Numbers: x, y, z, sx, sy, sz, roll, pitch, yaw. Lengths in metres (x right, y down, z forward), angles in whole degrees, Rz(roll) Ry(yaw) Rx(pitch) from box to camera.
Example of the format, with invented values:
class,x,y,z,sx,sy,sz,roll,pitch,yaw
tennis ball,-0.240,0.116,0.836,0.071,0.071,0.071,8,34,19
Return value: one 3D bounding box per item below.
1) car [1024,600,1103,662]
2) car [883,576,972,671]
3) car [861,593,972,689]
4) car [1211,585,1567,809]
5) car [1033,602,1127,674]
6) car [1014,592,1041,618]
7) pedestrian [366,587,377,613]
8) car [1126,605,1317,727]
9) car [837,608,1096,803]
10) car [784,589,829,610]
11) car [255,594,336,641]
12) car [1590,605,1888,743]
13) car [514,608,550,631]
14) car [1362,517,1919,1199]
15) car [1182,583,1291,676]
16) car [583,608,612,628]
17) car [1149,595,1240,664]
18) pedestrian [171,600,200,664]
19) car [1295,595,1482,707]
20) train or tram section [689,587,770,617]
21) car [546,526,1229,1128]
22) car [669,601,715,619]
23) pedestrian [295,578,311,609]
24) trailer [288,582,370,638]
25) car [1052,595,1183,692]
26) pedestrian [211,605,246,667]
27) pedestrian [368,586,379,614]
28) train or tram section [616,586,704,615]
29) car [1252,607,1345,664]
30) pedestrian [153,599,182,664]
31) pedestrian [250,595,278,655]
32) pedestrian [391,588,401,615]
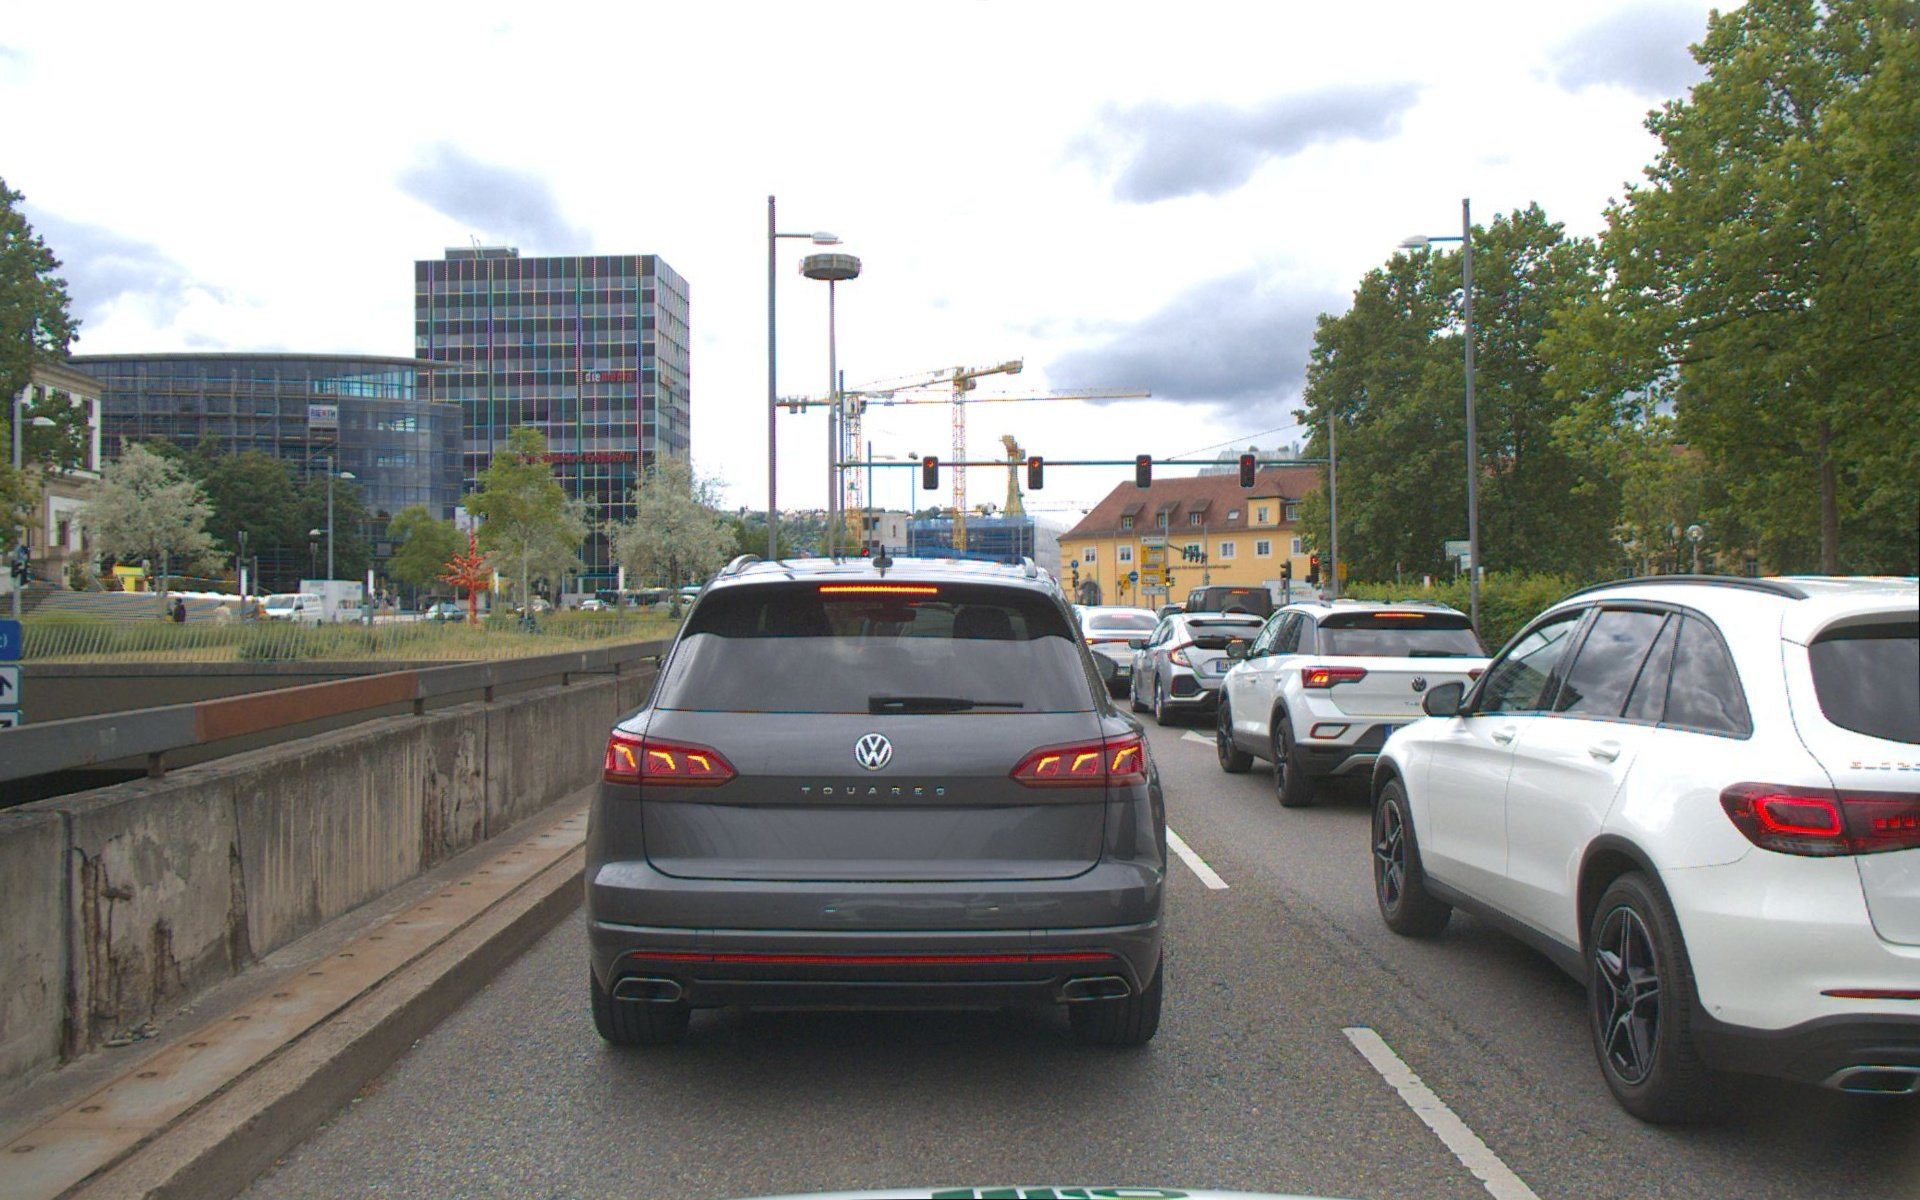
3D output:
class,x,y,z,sx,sy,sz,roll,pitch,yaw
car,2.705,0.818,44.061,1.887,1.556,4.047,0,-1,0
car,-0.756,0.530,38.541,1.912,2.053,3.930,2,0,-1
car,-0.801,0.720,31.004,1.912,1.628,3.930,2,0,-1
car,3.400,0.720,14.033,1.887,1.578,4.489,0,-1,0
car,2.684,0.848,37.773,1.887,1.556,4.047,0,-1,0
car,4.540,0.367,111.522,1.586,1.656,3.999,2,-1,0
pedestrian,-47.083,0.009,132.314,0.728,2.049,0.788,-1,1,-21
car,3.385,0.831,22.238,1.887,1.457,4.489,0,-1,0
car,0.019,0.802,14.387,1.912,1.408,3.930,2,0,-1
car,-16.217,-0.035,174.512,4.367,2.049,1.994,1,-2,33
car,-31.367,0.781,78.221,1.953,2.048,4.692,0,1,0
car,9.444,0.866,20.493,1.890,1.485,4.529,1,-1,5
car,-30.362,1.410,117.340,1.697,1.521,3.592,2,-1,-3
car,3.004,0.630,6.296,1.887,1.682,4.490,0,0,0
car,6.481,0.682,39.200,1.871,2.049,4.011,2,-1,0
car,-29.837,1.490,136.311,1.697,1.521,3.592,2,-1,-3
car,6.301,0.796,44.776,1.871,1.727,4.011,2,-1,0
pedestrian,-25.307,1.035,54.049,0.781,2.049,0.829,-1,0,-28
car,6.862,0.759,26.954,1.952,1.668,4.304,0,0,0
train or tram section,-25.202,0.213,180.650,8.750,3.062,2.593,1,-2,28
car,-0.232,0.643,6.649,1.912,1.680,3.999,0,0,-1
car,-25.151,0.956,155.143,4.142,1.631,1.746,1,-2,36
pedestrian,-44.462,-0.428,111.919,0.724,2.049,1.113,-1,1,-6
trailer,-31.701,0.444,83.313,1.996,2.650,5.507,2,1,-1
car,2.668,0.732,28.953,1.887,1.556,4.489,0,-1,0
pedestrian,-24.393,1.197,55.127,0.842,2.049,0.629,0,1,20
pedestrian,-44.105,0.007,124.405,0.727,2.049,0.915,-1,1,-20
train or tram section,-33.580,0.070,185.082,10.195,3.062,2.593,1,-2,28
car,9.347,0.979,45.910,1.722,1.472,3.632,2,-1,-2
pedestrian,-25.623,1.011,53.476,0.781,2.049,0.829,-1,0,-28
pedestrian,-24.778,0.886,58.888,0.716,2.047,0.628,-1,4,-8
pedestrian,-43.137,0.088,126.519,0.727,2.049,0.915,-1,1,-20
